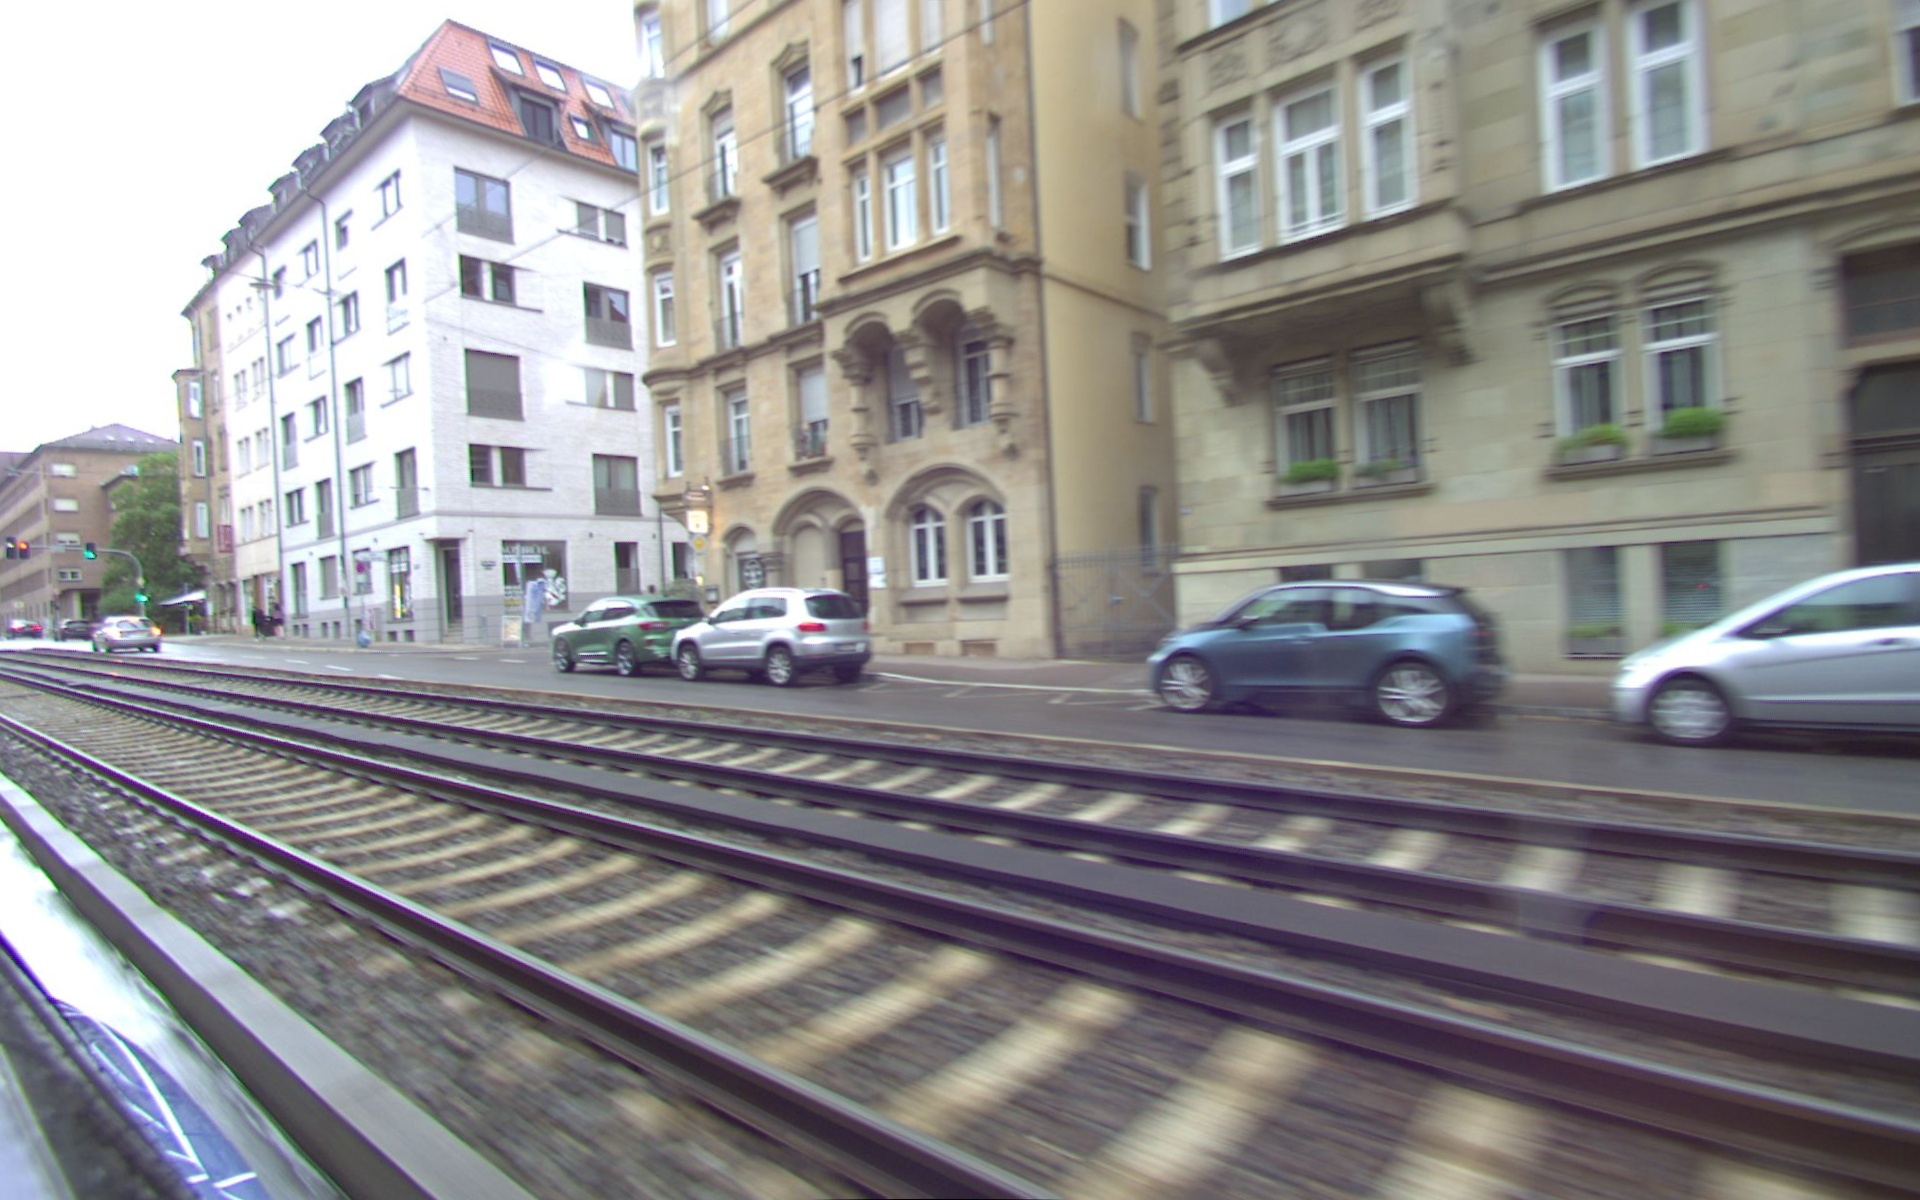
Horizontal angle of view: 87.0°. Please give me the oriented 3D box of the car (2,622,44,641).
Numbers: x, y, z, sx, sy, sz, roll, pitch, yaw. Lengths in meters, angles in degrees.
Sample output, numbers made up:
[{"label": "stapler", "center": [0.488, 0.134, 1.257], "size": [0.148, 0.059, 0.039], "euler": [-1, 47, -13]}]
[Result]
[{"label": "car", "center": [-74.024, 2.501, 79.942], "size": [4.859, 1.468, 2.065], "euler": [-2, -1, 43]}]

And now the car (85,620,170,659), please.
[{"label": "car", "center": [-34.315, 1.599, 41.662], "size": [4.291, 1.468, 1.961], "euler": [-2, -1, 40]}]

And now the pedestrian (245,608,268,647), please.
[{"label": "pedestrian", "center": [-32.467, 1.257, 46.705], "size": [0.746, 1.731, 0.595], "euler": [-2, 2, 44]}]

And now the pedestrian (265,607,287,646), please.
[{"label": "pedestrian", "center": [-31.838, 1.231, 47.104], "size": [0.658, 1.731, 0.595], "euler": [-2, 2, 44]}]

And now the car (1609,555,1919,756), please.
[{"label": "car", "center": [7.833, 0.429, 8.434], "size": [3.853, 1.535, 1.677], "euler": [-2, -2, 42]}]

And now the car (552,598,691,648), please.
[{"label": "car", "center": [-12.823, 0.844, 38.576], "size": [2.032, 1.741, 4.647], "euler": [-2, 0, 38]}]

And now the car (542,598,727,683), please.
[{"label": "car", "center": [-7.024, 0.826, 21.608], "size": [4.429, 1.614, 1.838], "euler": [-2, -1, 43]}]

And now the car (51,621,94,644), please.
[{"label": "car", "center": [-56.576, 2.065, 64.481], "size": [3.781, 1.398, 1.686], "euler": [-2, -1, 43]}]

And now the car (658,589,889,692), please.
[{"label": "car", "center": [-3.492, 0.706, 18.523], "size": [4.312, 1.665, 1.840], "euler": [-2, -1, 40]}]

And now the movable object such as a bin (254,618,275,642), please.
[{"label": "movable object such as a bin", "center": [-34.392, 1.492, 50.041], "size": [0.563, 1.088, 0.623], "euler": [-2, 4, 41]}]

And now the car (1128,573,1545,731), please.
[{"label": "car", "center": [4.249, 0.541, 11.803], "size": [4.167, 1.519, 1.851], "euler": [-2, -1, 41]}]
